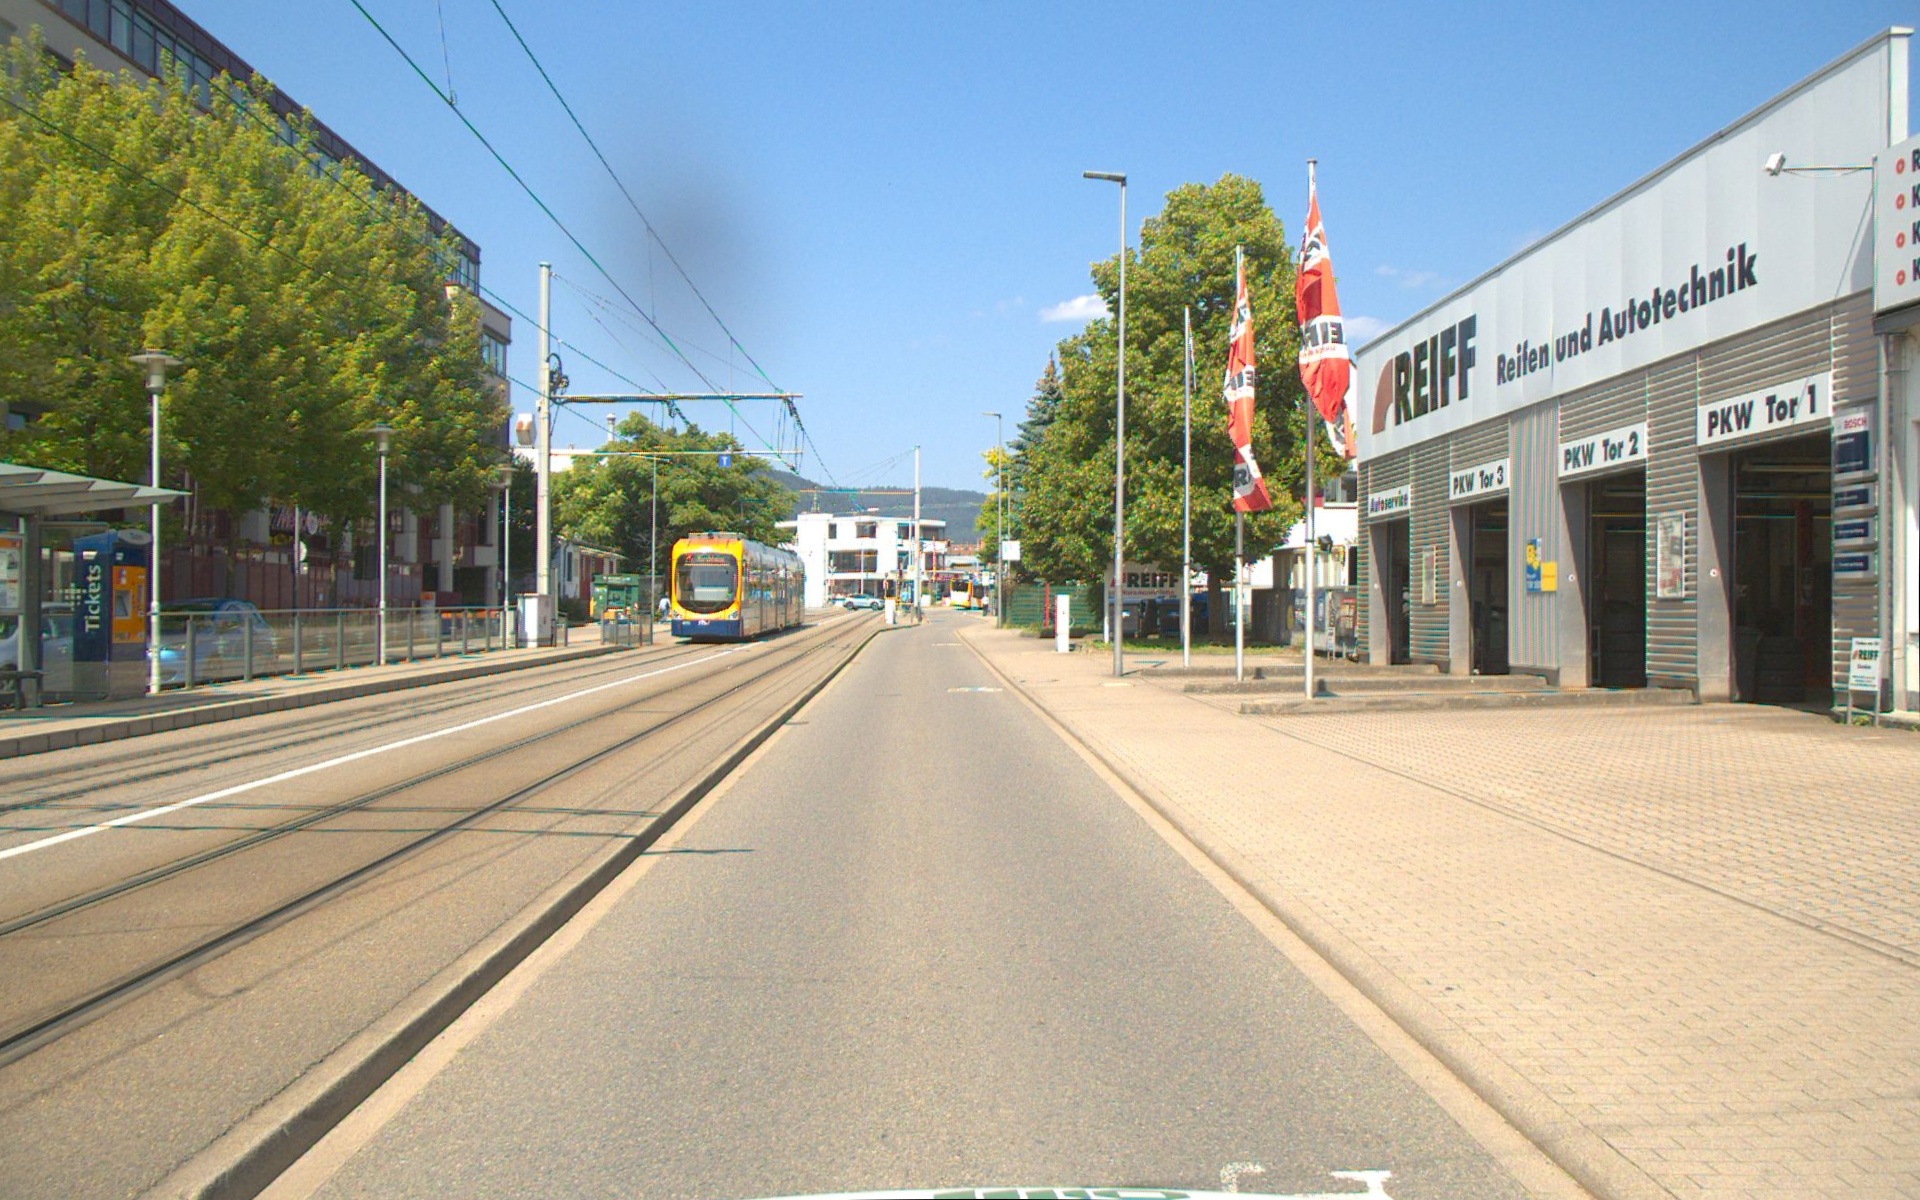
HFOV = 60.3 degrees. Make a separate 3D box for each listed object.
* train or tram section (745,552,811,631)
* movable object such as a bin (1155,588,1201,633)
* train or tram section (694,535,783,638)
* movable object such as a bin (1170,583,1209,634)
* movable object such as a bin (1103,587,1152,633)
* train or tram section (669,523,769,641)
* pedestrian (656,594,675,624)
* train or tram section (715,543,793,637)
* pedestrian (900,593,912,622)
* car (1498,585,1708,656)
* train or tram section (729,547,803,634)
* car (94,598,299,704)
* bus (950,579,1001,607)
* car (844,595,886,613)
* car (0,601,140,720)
[{"bbox_3d":[-8.487,-0.379,77.671,2.528,3.507,6.360,0,0,-2],"label":"train or tram section"},{"bbox_3d":[7.113,0.355,54.030,1.290,1.455,0.884,0,-2,24],"label":"movable object such as a bin"},{"bbox_3d":[-7.861,-0.474,59.395,2.558,3.507,5.841,0,0,-2],"label":"train or tram section"},{"bbox_3d":[7.238,0.287,52.181,0.959,1.574,1.319,1,-2,-5],"label":"movable object such as a bin"},{"bbox_3d":[5.532,0.337,54.537,1.356,1.455,0.990,0,-2,24],"label":"movable object such as a bin"},{"bbox_3d":[-7.732,-0.558,53.610,2.558,3.595,5.740,0,0,-2],"label":"train or tram section"},{"bbox_3d":[-15.469,0.457,86.856,0.818,1.564,0.838,-1,0,-2],"label":"pedestrian"},{"bbox_3d":[-8.023,-0.376,64.827,2.558,3.507,5.008,0,0,-2],"label":"train or tram section"},{"bbox_3d":[-3.409,0.475,104.438,0.728,1.771,0.727,-1,0,-2],"label":"pedestrian"},{"bbox_3d":[13.238,0.406,34.159,3.689,1.400,1.723,0,0,-6],"label":"car"},{"bbox_3d":[-8.246,-0.382,70.911,2.528,3.507,7.134,0,0,-2],"label":"train or tram section"},{"bbox_3d":[-12.957,0.806,28.348,1.688,1.612,4.069,-3,0,-2],"label":"car"},{"bbox_3d":[1.721,-0.766,176.313,2.386,2.930,8.791,0,0,22],"label":"bus"},{"bbox_3d":[-9.662,0.372,168.521,3.903,1.780,1.777,0,0,17],"label":"car"},{"bbox_3d":[-13.025,0.791,22.542,1.688,1.498,4.277,-2,0,-2],"label":"car"}]
